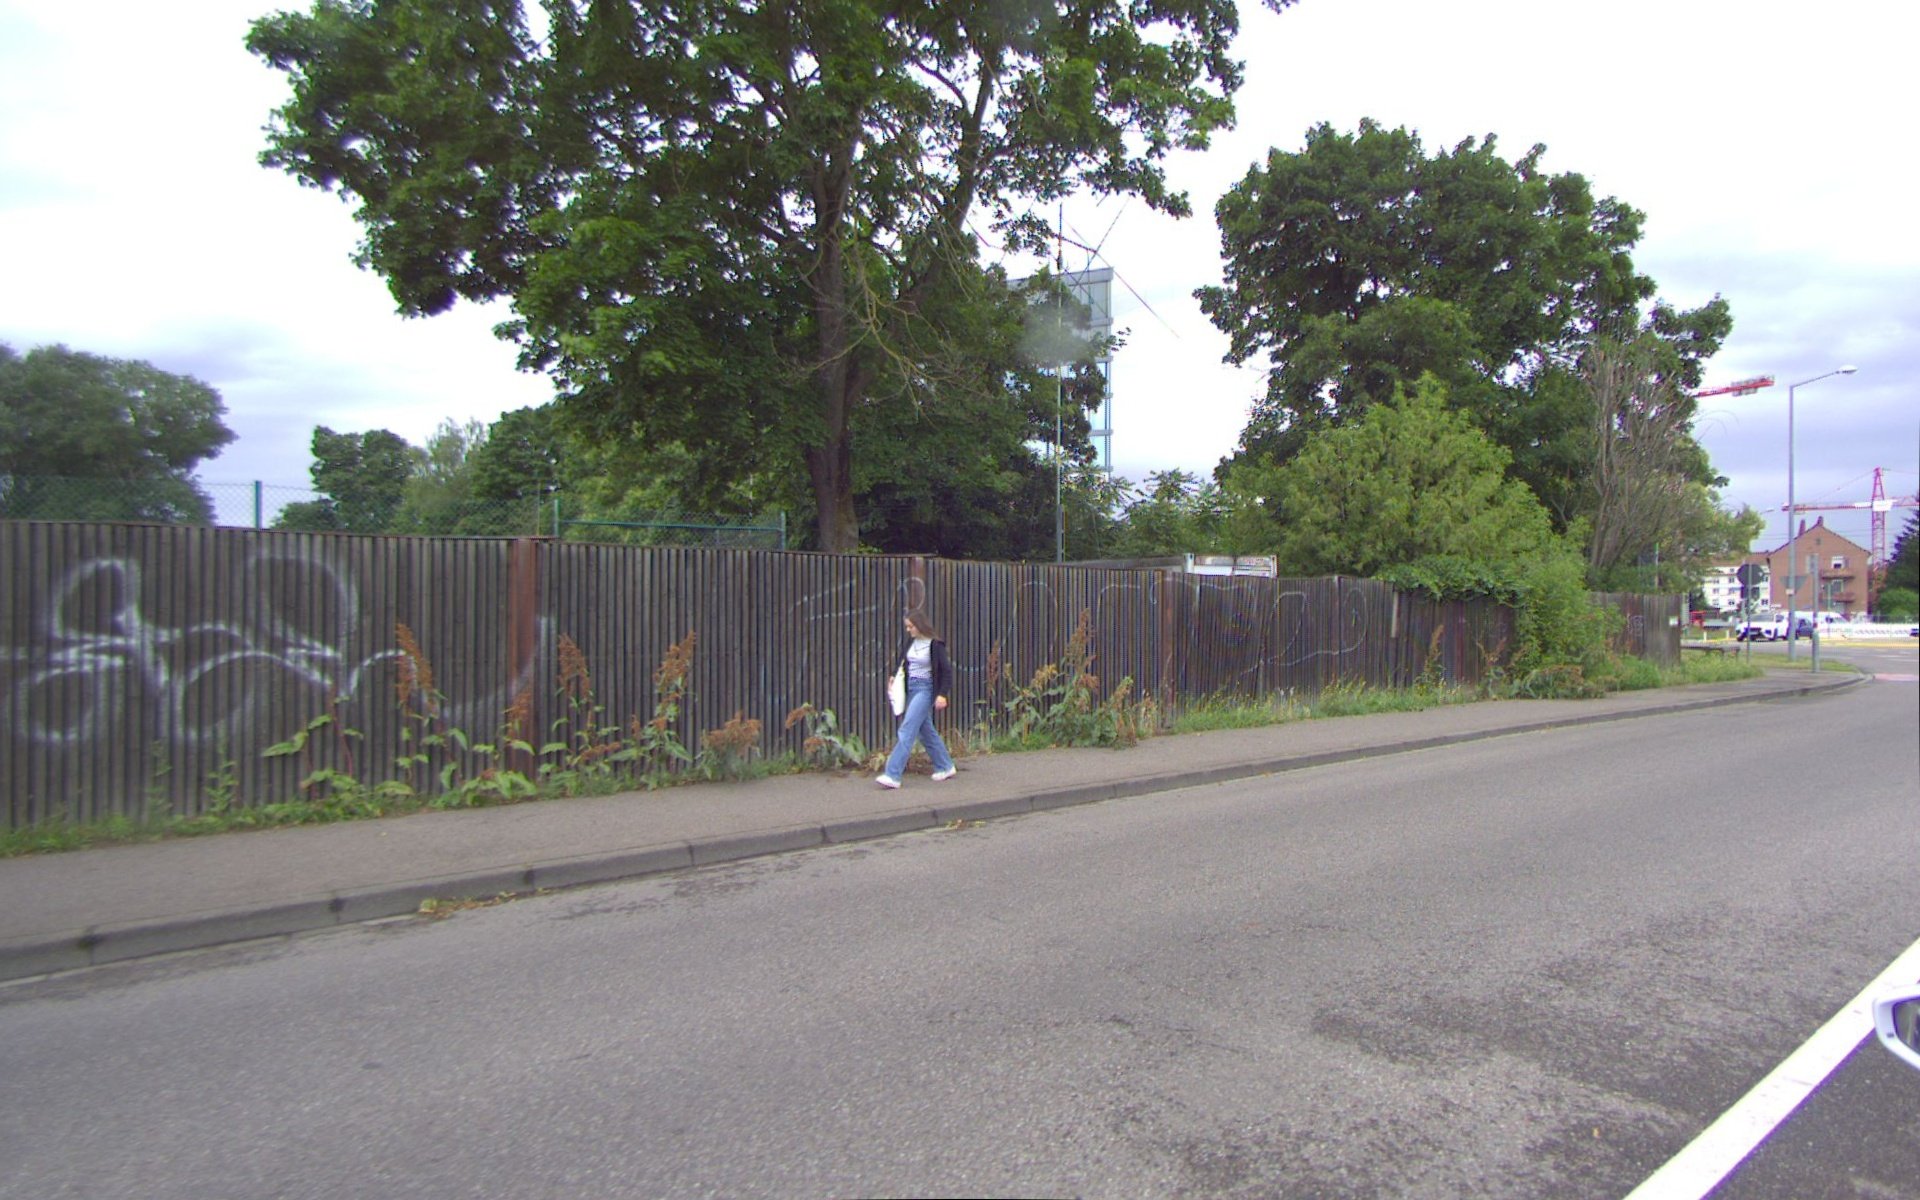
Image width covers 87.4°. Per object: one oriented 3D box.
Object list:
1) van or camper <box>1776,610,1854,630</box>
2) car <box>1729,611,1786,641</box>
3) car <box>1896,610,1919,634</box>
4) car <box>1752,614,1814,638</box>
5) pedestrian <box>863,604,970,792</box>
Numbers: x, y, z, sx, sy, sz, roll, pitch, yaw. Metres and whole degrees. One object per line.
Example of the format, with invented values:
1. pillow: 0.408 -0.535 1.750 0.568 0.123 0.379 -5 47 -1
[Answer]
1. van or camper: 90.949 2.100 106.968 1.970 2.040 6.168 0 -1 -20
2. car: 48.426 1.555 60.983 4.154 1.706 1.915 1 -1 -40
3. car: 66.755 1.484 68.093 4.580 1.656 2.001 0 -1 6
4. car: 53.362 1.695 65.126 3.955 1.509 1.921 1 -1 -32
5. pedestrian: -0.378 0.812 8.749 0.717 1.549 0.608 0 -1 -36
